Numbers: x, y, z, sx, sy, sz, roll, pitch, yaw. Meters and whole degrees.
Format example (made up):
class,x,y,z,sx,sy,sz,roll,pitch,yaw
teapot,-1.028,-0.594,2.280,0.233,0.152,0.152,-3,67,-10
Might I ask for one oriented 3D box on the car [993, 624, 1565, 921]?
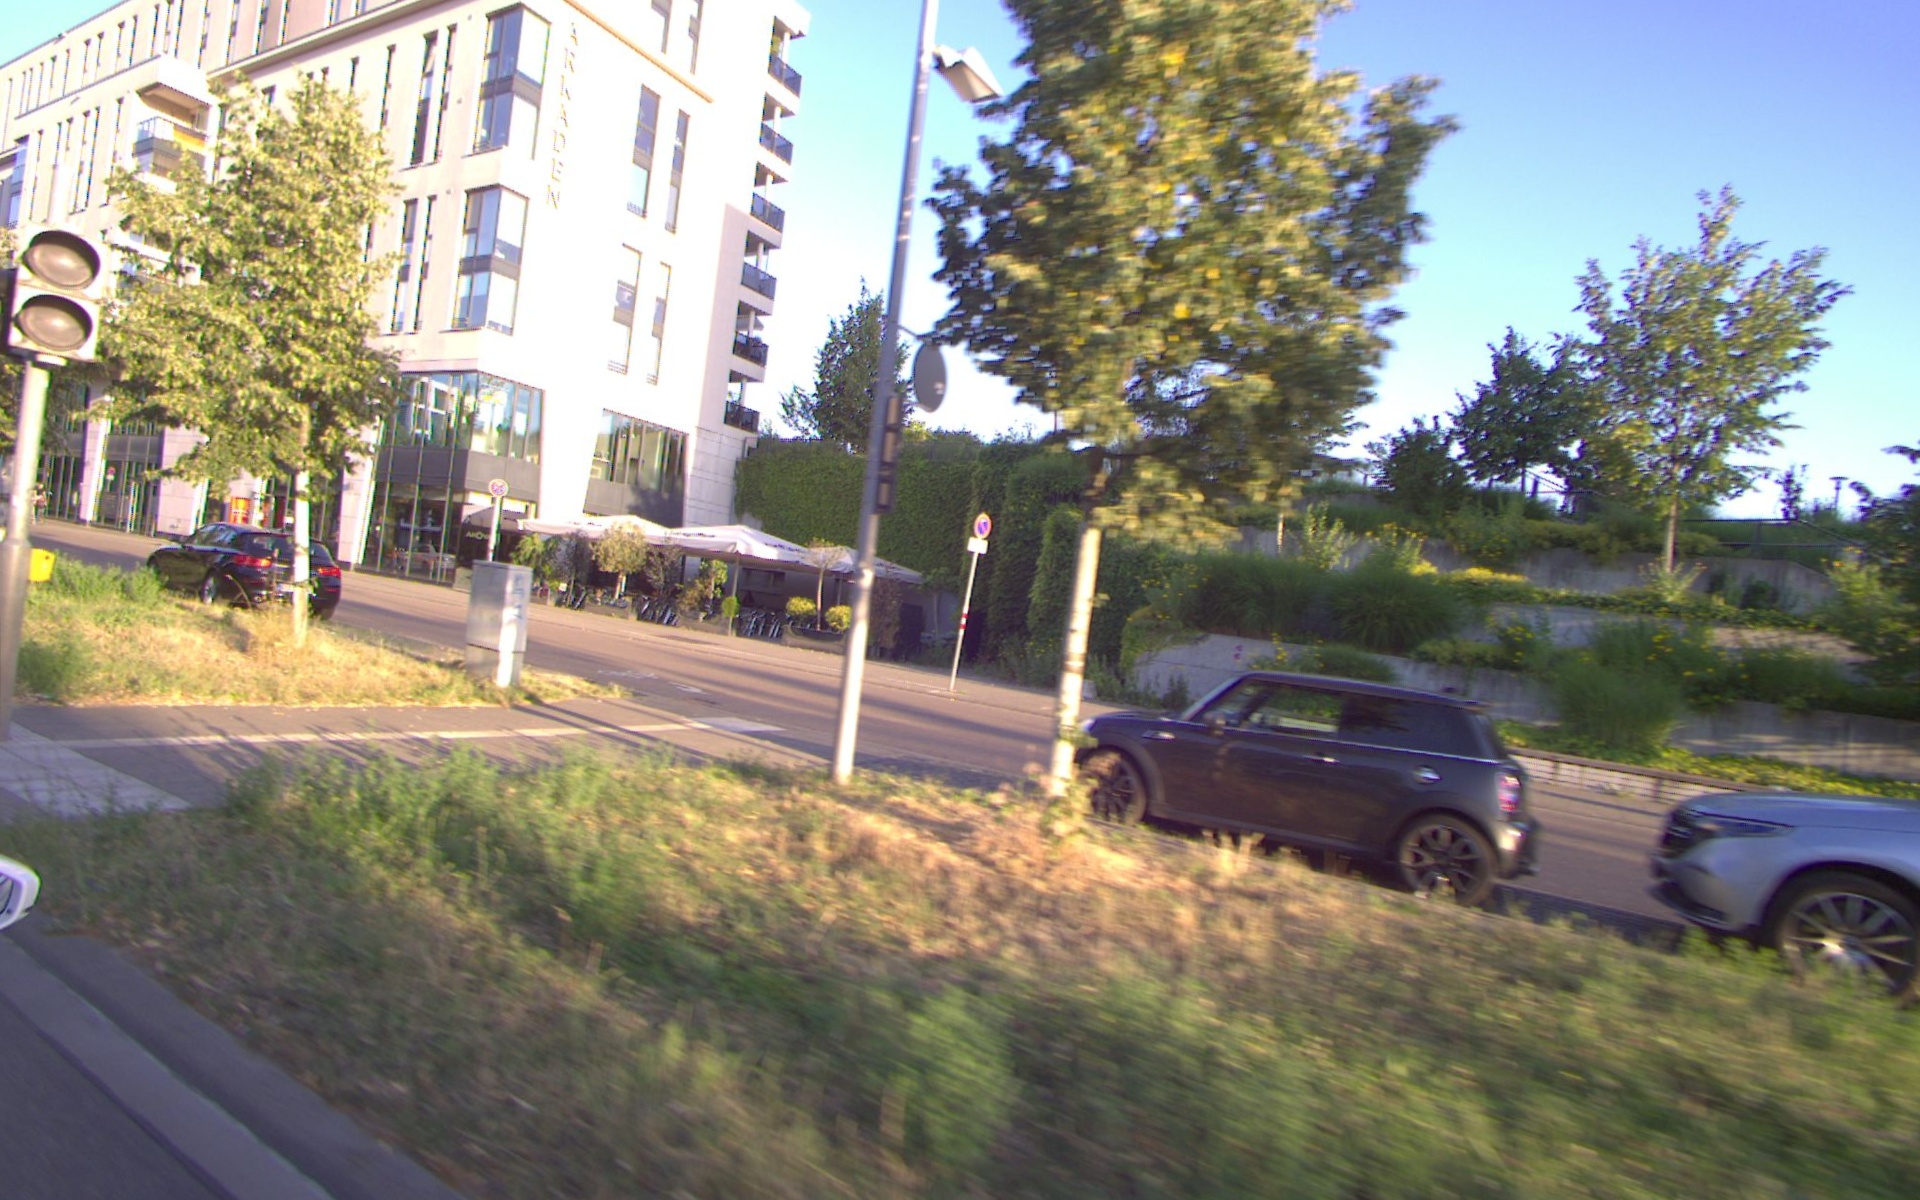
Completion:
class,x,y,z,sx,sy,sz,roll,pitch,yaw
car,2.475,1.198,8.101,3.933,1.414,1.753,7,-1,31

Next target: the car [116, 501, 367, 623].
class,x,y,z,sx,sy,sz,roll,pitch,yaw
car,-12.296,-0.666,17.160,4.295,1.519,1.811,7,-1,31

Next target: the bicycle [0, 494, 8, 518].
class,x,y,z,sx,sy,sz,roll,pitch,yaw
bicycle,-44.040,-4.340,45.728,1.584,1.072,0.534,7,0,26

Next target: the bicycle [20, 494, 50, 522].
class,x,y,z,sx,sy,sz,roll,pitch,yaw
bicycle,-43.146,-4.294,46.921,1.882,1.132,0.543,7,0,35

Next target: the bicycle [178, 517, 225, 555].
class,x,y,z,sx,sy,sz,roll,pitch,yaw
bicycle,-26.009,-2.197,34.469,1.837,1.143,0.547,7,2,30

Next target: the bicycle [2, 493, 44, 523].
class,x,y,z,sx,sy,sz,roll,pitch,yaw
bicycle,-39.630,-3.899,42.535,2.223,1.046,0.621,7,0,31

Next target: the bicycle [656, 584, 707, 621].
class,x,y,z,sx,sy,sz,roll,pitch,yaw
bicycle,-9.651,0.092,34.957,0.491,1.121,1.798,7,0,28

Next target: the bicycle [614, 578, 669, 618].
class,x,y,z,sx,sy,sz,roll,pitch,yaw
bicycle,-10.460,-0.053,33.110,0.491,1.121,1.798,7,0,28

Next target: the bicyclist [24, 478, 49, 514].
class,x,y,z,sx,sy,sz,roll,pitch,yaw
bicyclist,-43.065,-4.854,46.915,1.003,1.588,0.544,7,0,35

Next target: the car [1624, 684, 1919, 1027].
class,x,y,z,sx,sy,sz,roll,pitch,yaw
car,6.581,1.668,5.566,4.597,1.650,1.813,7,-2,31
